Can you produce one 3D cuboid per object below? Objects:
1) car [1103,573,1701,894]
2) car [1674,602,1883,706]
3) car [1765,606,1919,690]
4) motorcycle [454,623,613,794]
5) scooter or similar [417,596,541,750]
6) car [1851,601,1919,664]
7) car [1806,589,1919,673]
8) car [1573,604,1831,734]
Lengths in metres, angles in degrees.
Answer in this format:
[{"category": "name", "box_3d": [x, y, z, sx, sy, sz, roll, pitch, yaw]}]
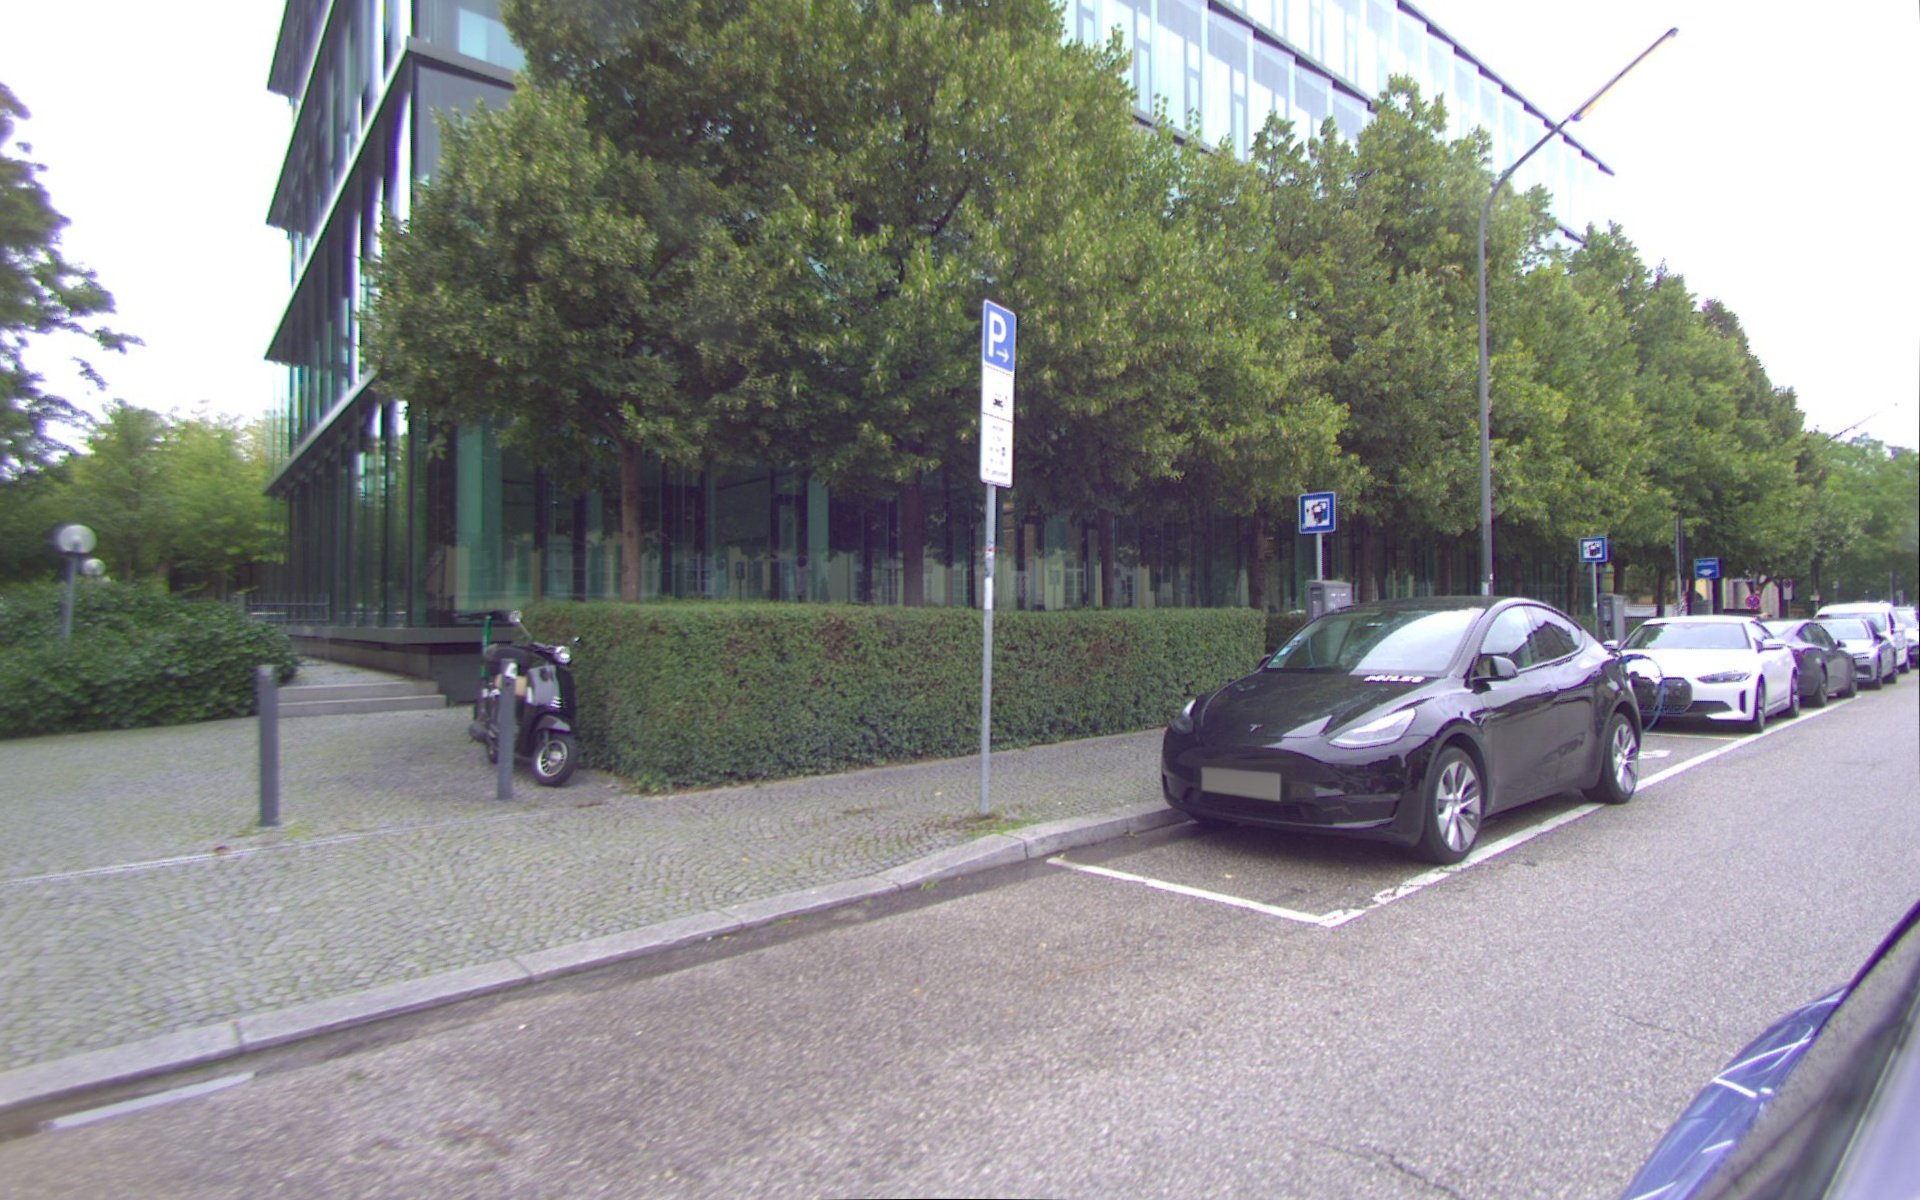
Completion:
[{"category": "car", "box_3d": [3.543, 0.731, 7.597, 5.007, 1.652, 1.997, 0, -3, -39]}, {"category": "car", "box_3d": [14.345, 0.857, 17.636, 4.764, 1.573, 1.965, 0, -3, -41]}, {"category": "car", "box_3d": [18.746, 0.956, 21.394, 4.920, 1.573, 1.948, 0, -3, -43]}, {"category": "motorcycle", "box_3d": [-3.553, 0.814, 8.344, 0.695, 1.147, 1.898, 0, 1, -39]}, {"category": "scooter or similar", "box_3d": [-4.611, 0.643, 9.674, 0.659, 1.318, 1.349, -2, 2, -44]}, {"category": "car", "box_3d": [27.390, 0.904, 29.303, 4.703, 1.713, 1.869, 0, -3, -43]}, {"category": "car", "box_3d": [22.899, 0.750, 25.431, 4.494, 1.920, 1.786, 0, -3, -41]}, {"category": "car", "box_3d": [10.391, 0.839, 14.008, 4.873, 1.479, 1.995, 0, -3, -43]}]
